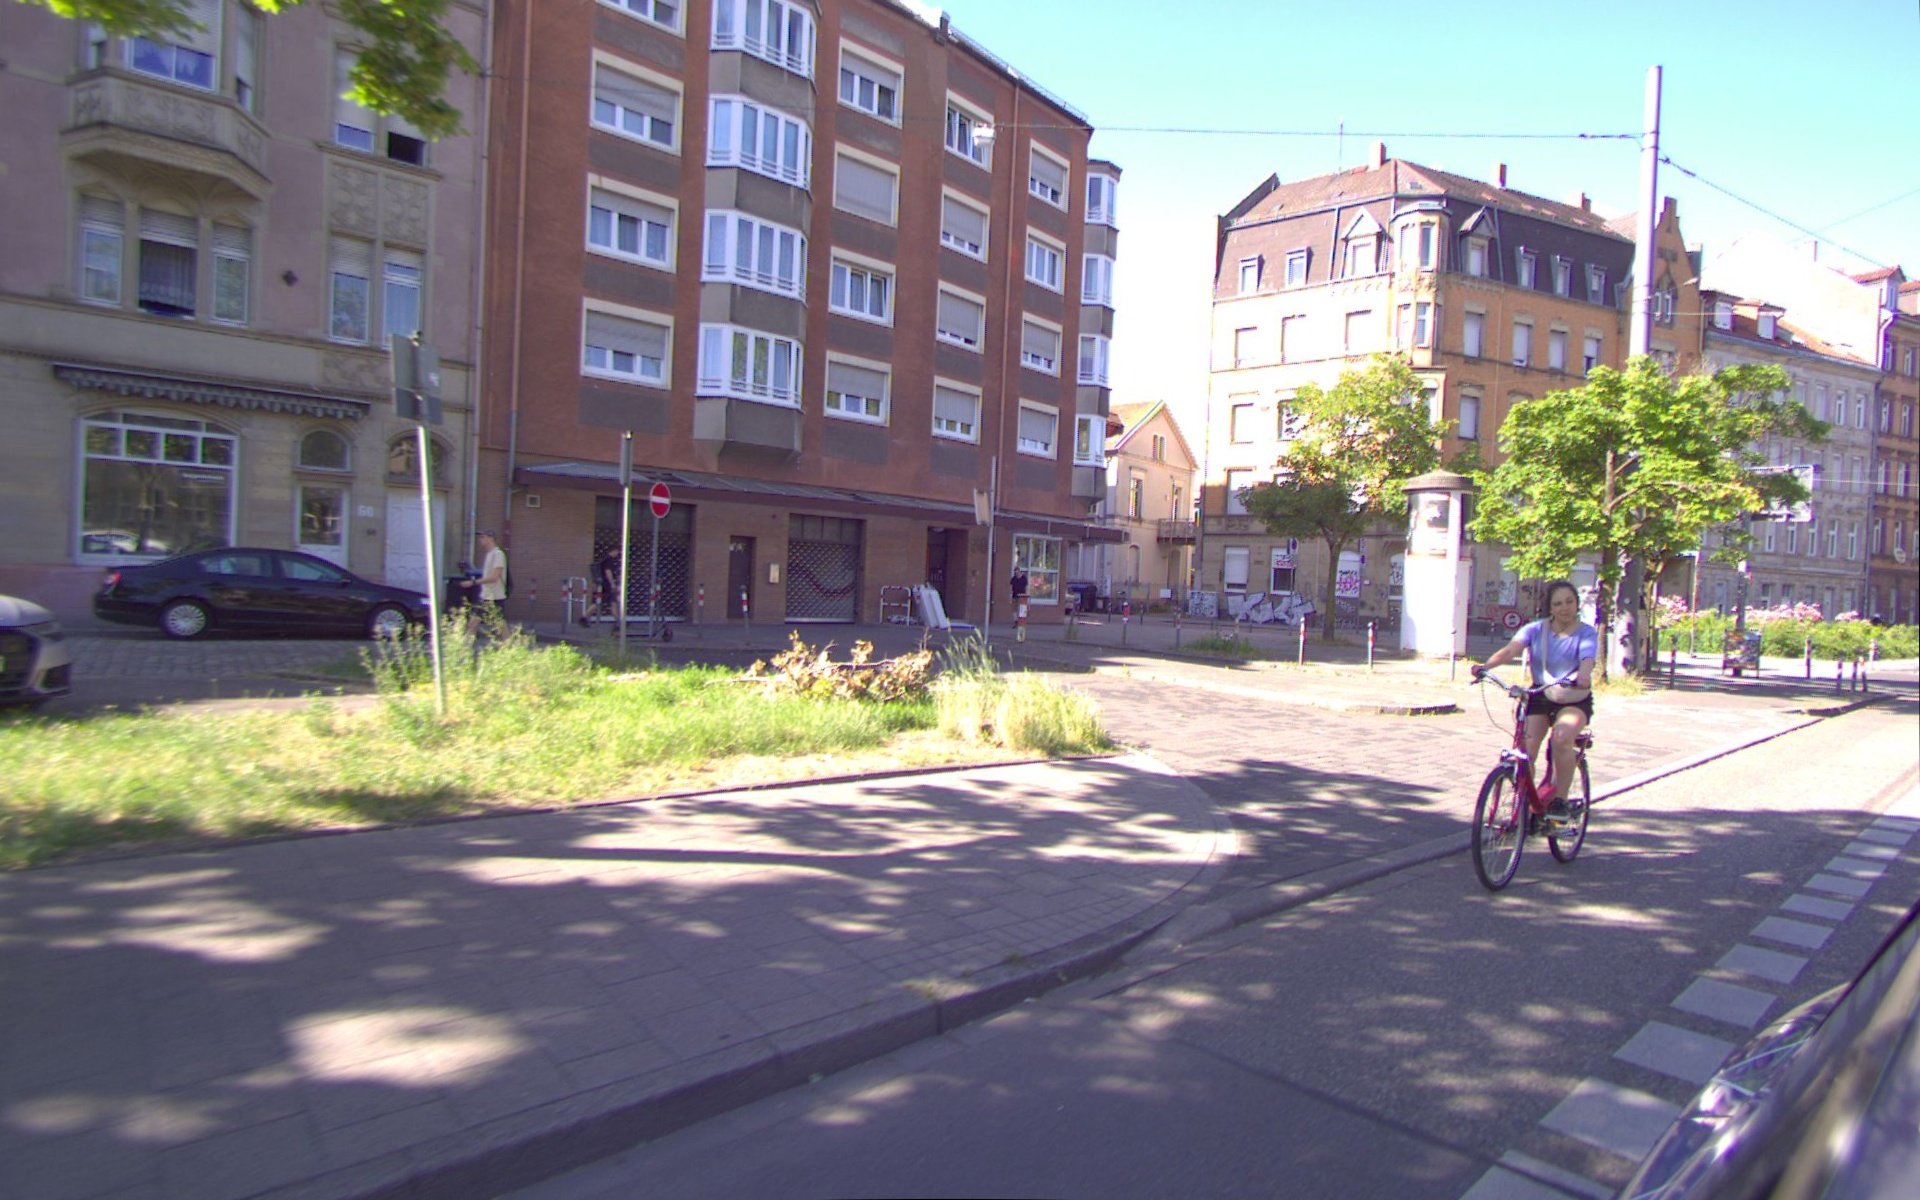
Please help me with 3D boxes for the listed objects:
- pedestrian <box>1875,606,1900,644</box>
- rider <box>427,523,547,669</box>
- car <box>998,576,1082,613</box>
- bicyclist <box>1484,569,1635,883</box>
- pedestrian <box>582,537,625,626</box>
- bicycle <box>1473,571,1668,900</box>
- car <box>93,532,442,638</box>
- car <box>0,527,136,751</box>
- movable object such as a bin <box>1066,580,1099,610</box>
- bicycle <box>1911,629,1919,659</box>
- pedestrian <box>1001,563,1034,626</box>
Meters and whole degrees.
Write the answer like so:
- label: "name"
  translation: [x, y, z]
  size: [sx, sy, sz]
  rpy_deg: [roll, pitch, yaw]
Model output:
- label: "pedestrian"
  translation: [48.435, 1.300, 52.877]
  size: [0.818, 1.885, 0.694]
  rpy_deg: [4, 1, 39]
- label: "rider"
  translation: [-6.371, -0.068, 13.668]
  size: [0.953, 1.843, 1.031]
  rpy_deg: [4, 1, 26]
- label: "car"
  translation: [4.019, -0.288, 51.033]
  size: [3.983, 1.563, 1.612]
  rpy_deg: [5, 2, 40]
- label: "bicyclist"
  translation: [3.435, 0.678, 5.790]
  size: [0.765, 1.659, 0.438]
  rpy_deg: [3, 1, -42]
- label: "pedestrian"
  translation: [-7.407, -0.384, 21.023]
  size: [0.604, 1.780, 0.571]
  rpy_deg: [3, 1, -39]
- label: "bicycle"
  translation: [3.617, 0.711, 5.916]
  size: [1.905, 1.660, 0.438]
  rpy_deg: [3, -2, -42]
- label: "car"
  translation: [-11.062, -0.206, 16.390]
  size: [4.408, 1.492, 1.999]
  rpy_deg: [2, 1, -39]
- label: "car"
  translation: [-8.790, 0.073, 7.285]
  size: [4.813, 1.452, 2.011]
  rpy_deg: [6, 2, 16]
- label: "movable object such as a bin"
  translation: [6.305, -0.244, 52.107]
  size: [1.215, 1.462, 1.019]
  rpy_deg: [4, 1, 44]
- label: "bicycle"
  translation: [48.667, 2.267, 49.551]
  size: [6.701, 1.433, 1.970]
  rpy_deg: [2, 3, -38]
- label: "pedestrian"
  translation: [1.670, -0.166, 29.372]
  size: [0.630, 1.782, 0.592]
  rpy_deg: [2, 1, -41]
